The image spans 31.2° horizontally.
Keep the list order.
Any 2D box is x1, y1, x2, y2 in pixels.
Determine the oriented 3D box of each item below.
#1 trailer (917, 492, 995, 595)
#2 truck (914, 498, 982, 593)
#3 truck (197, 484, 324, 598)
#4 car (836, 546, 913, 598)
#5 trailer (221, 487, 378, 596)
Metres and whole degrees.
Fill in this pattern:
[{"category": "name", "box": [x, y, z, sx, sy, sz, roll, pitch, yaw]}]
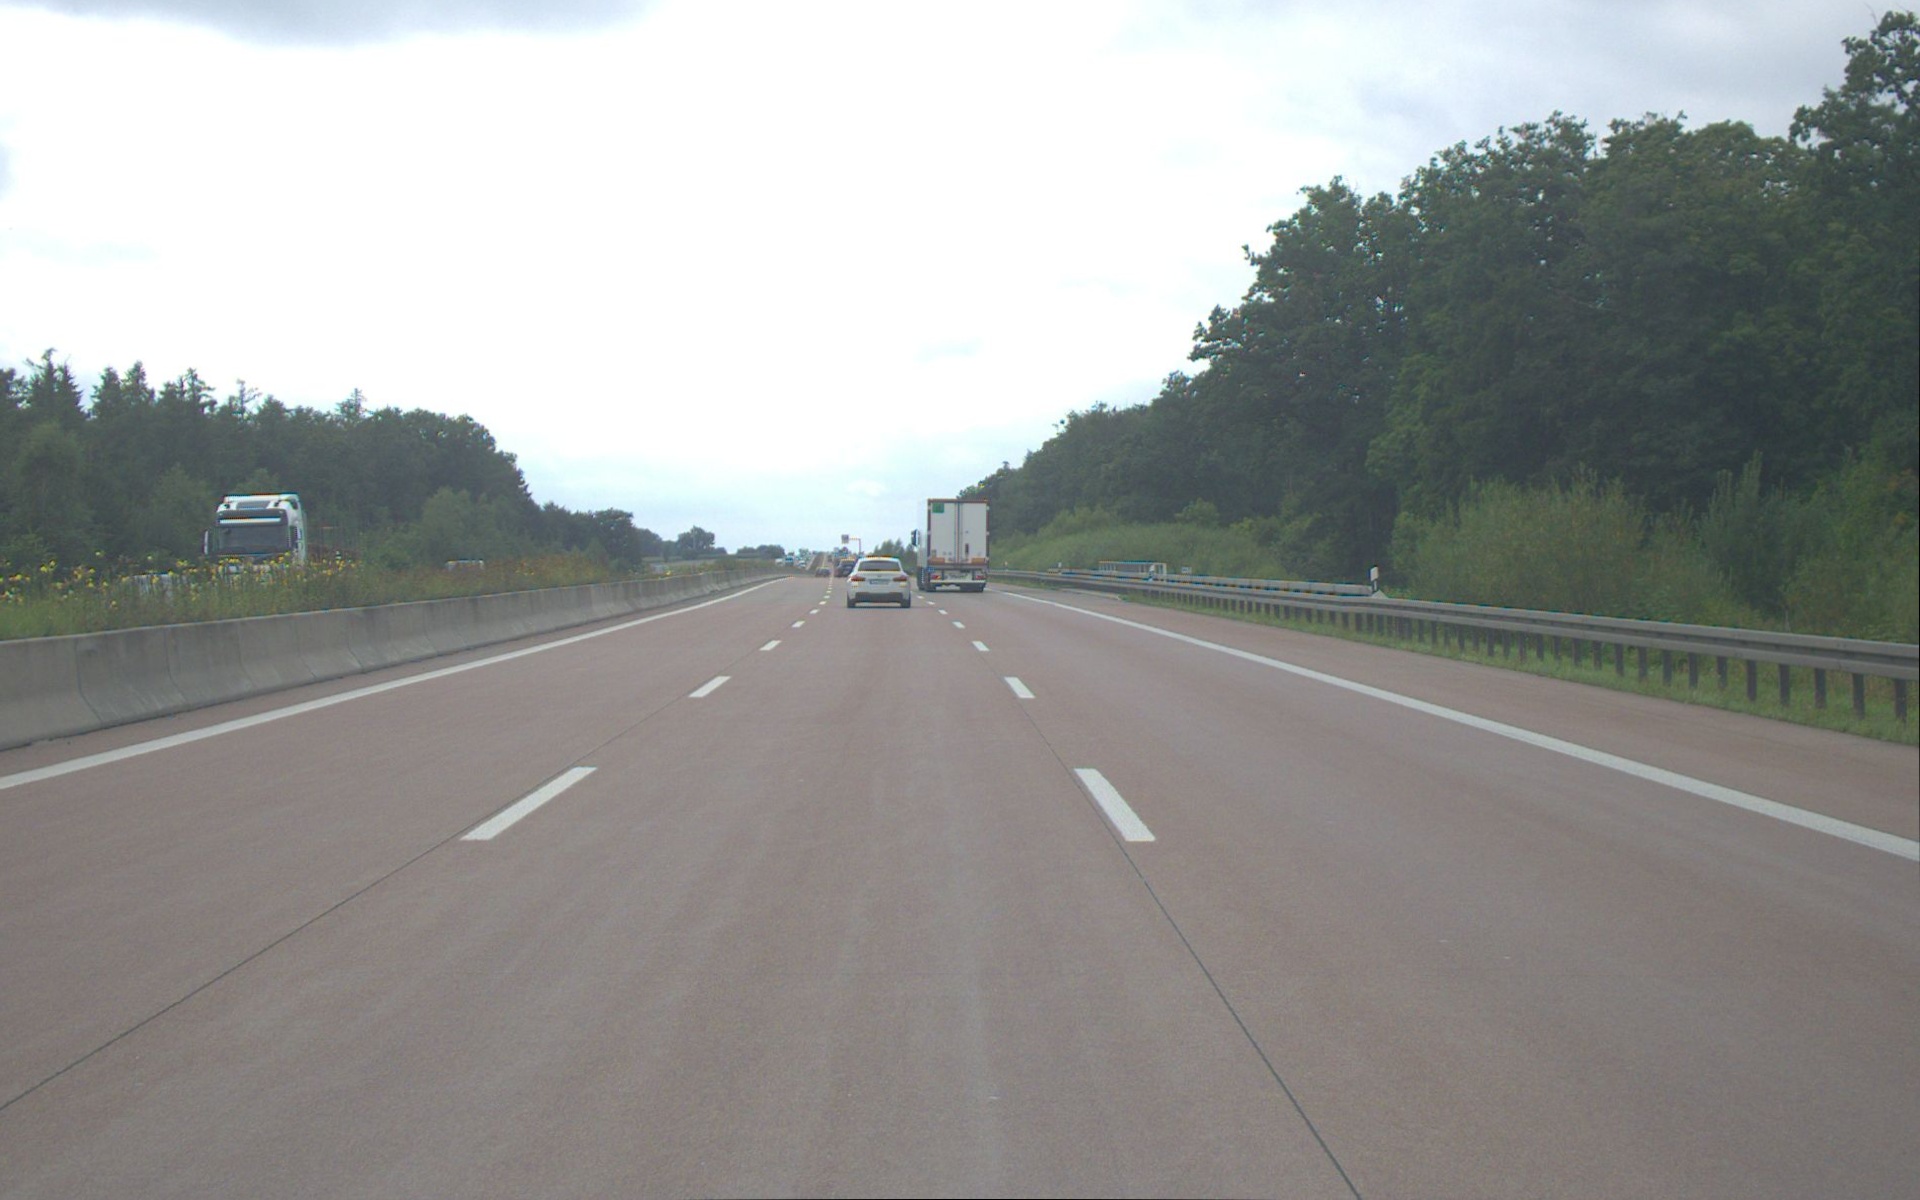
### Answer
[{"category": "trailer", "box": [-0.258, -2.399, 150.232, 2.921, 4.279, 13.615, 0, 0, -2]}, {"category": "truck", "box": [-0.568, -2.482, 157.869, 2.921, 4.279, 5.335, 0, 0, -2]}, {"category": "truck", "box": [-21.749, -1.825, 107.125, 2.934, 3.407, 5.345, 1, 1, -1]}, {"category": "car", "box": [-2.497, -0.833, 101.086, 2.163, 1.446, 4.719, 1, 1, -1]}, {"category": "trailer", "box": [-21.907, -1.946, 114.817, 2.934, 3.407, 13.271, 1, 1, -1]}]
